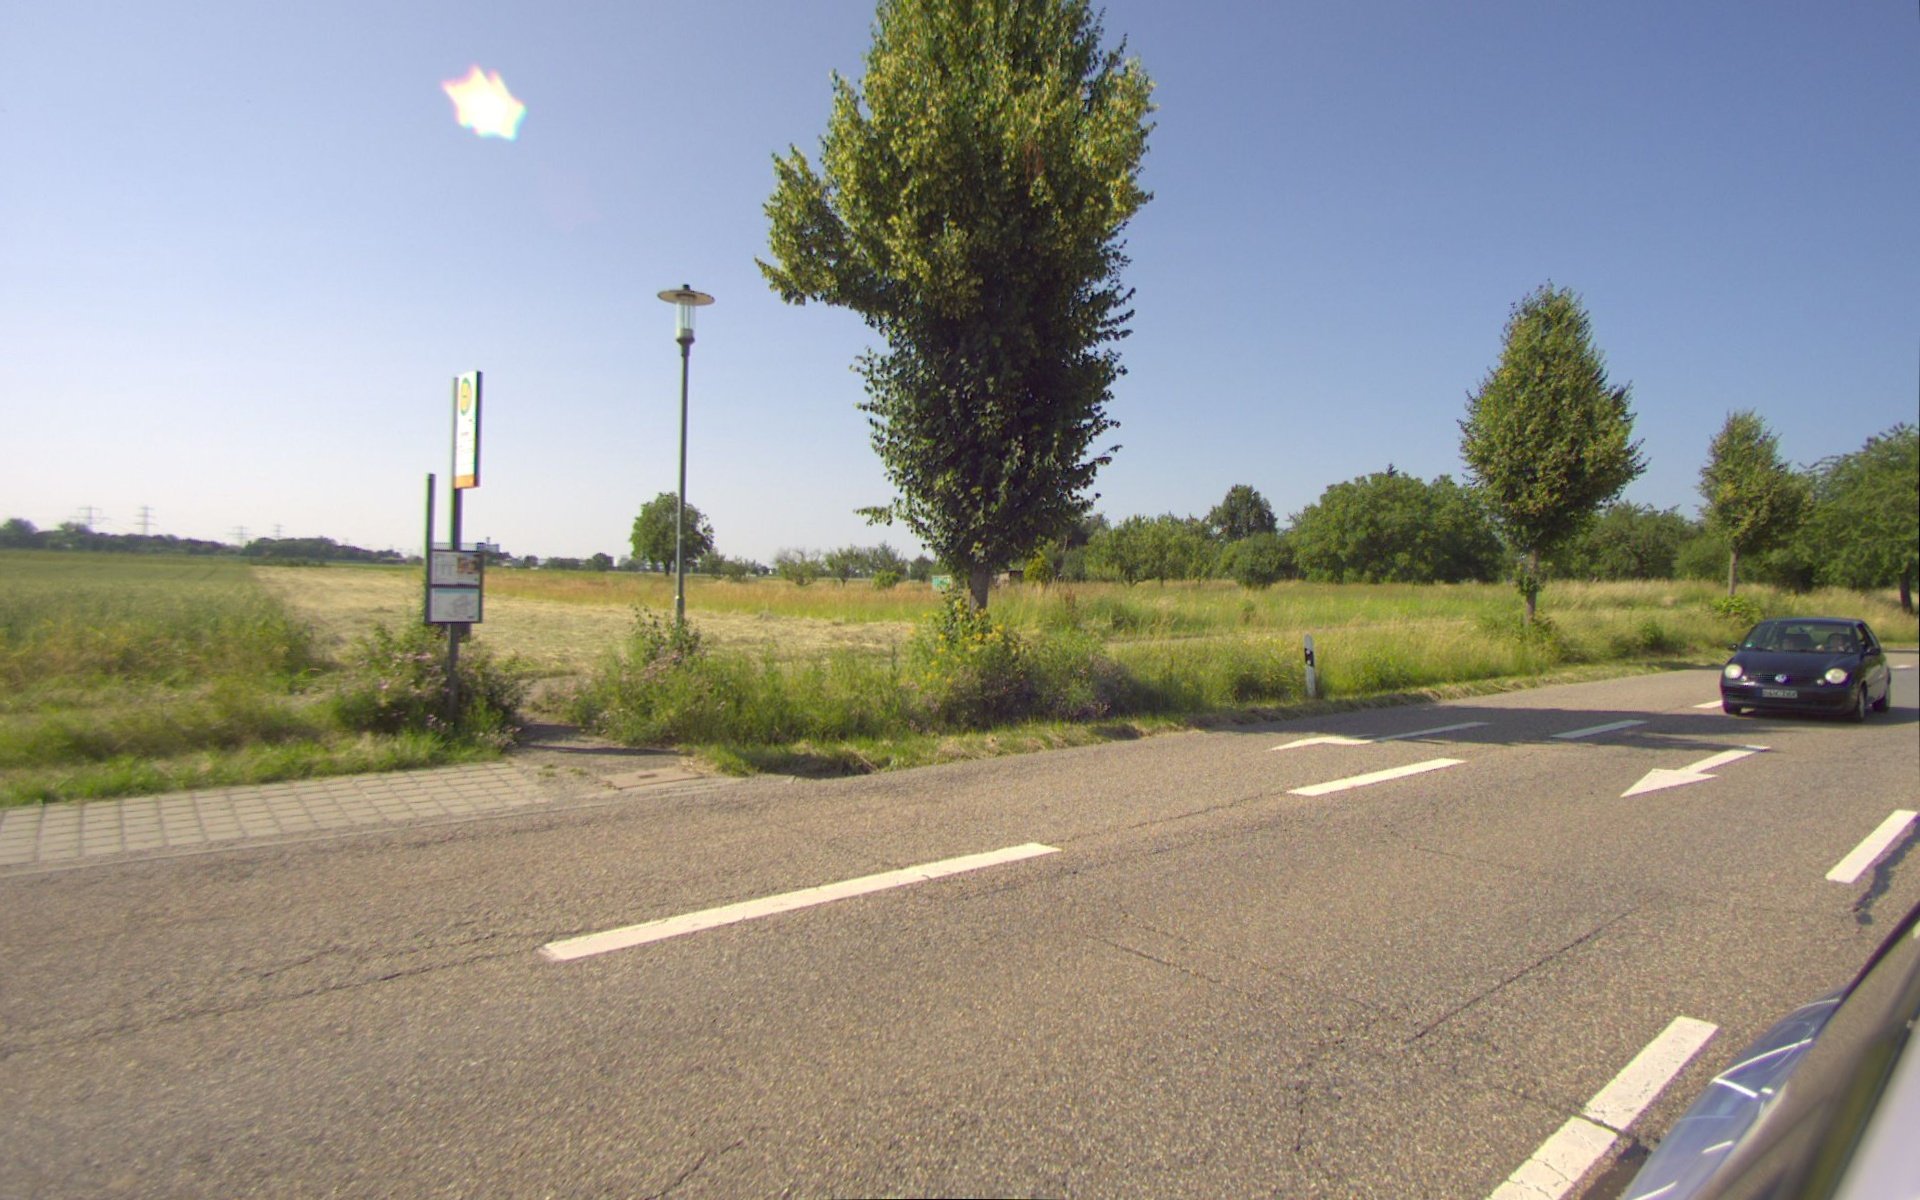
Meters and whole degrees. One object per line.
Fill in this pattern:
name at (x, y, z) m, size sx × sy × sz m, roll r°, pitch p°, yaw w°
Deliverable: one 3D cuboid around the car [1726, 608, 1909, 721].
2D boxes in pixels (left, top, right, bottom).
car at (12.860, 0.862, 15.112) m, size 3.560 × 1.451 × 1.627 m, roll 0°, pitch 0°, yaw -42°
